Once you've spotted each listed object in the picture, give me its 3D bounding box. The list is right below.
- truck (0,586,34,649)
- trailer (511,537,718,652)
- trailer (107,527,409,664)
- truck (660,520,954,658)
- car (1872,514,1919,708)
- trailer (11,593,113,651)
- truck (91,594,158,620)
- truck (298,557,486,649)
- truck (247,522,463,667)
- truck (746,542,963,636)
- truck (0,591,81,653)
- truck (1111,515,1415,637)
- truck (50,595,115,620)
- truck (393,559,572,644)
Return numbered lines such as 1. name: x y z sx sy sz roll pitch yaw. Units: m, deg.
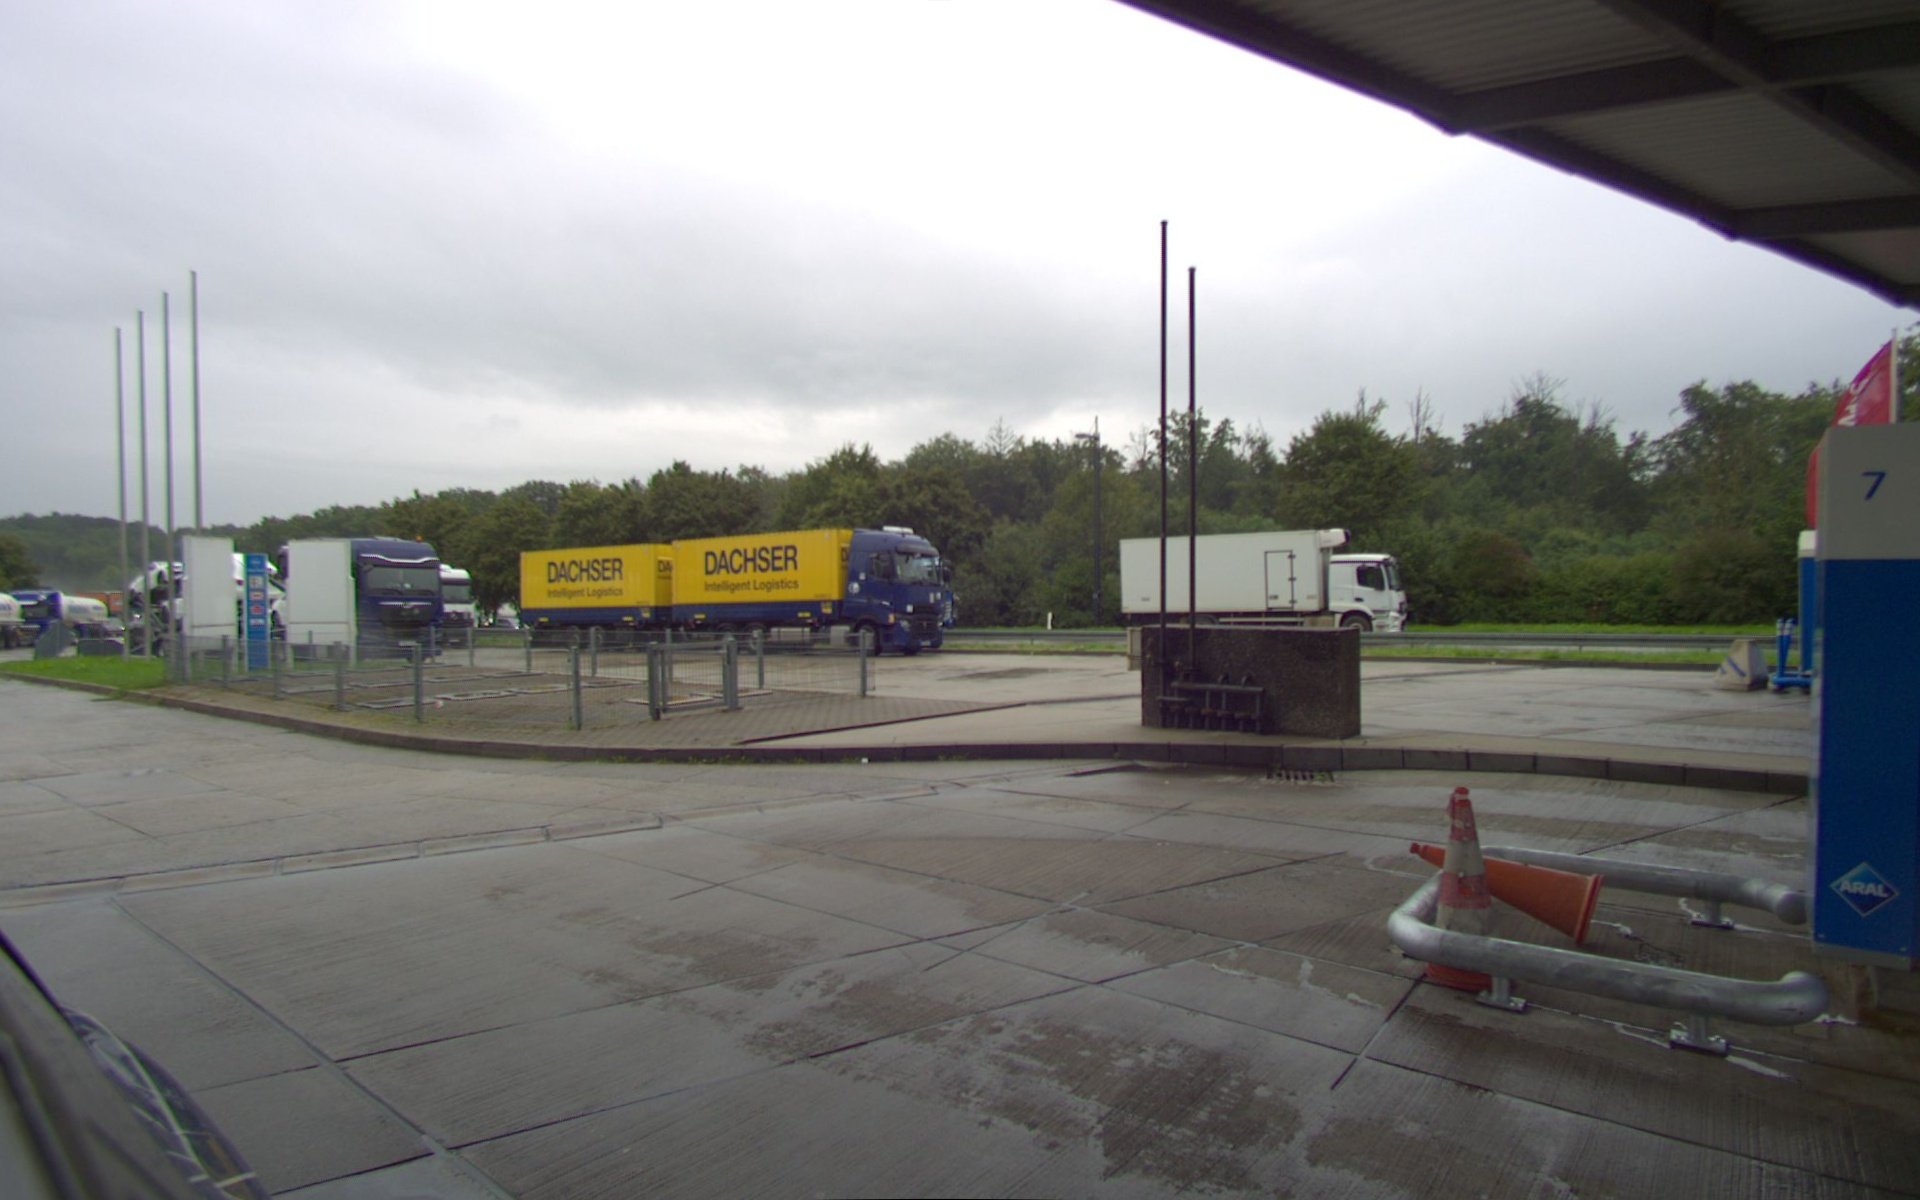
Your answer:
1. truck: -55.551 1.015 55.014 3.196 3.591 12.013 -1 0 -19
2. trailer: -13.540 -0.171 39.284 8.833 4.063 2.743 -1 0 33
3. trailer: -25.411 -0.059 35.920 16.563 4.063 2.957 -1 0 34
4. truck: -5.385 -0.275 33.950 10.608 4.063 2.743 -1 0 33
5. car: 14.902 0.109 12.405 5.272 2.482 2.298 -1 -2 37
6. trailer: -62.262 1.430 70.480 2.854 3.666 10.605 -1 0 -28
7. truck: -119.324 1.008 144.452 14.626 3.591 3.214 0 -1 34
8. truck: -27.295 0.171 48.441 10.433 4.063 2.961 -1 0 30
9. truck: -18.987 -0.117 31.617 7.244 4.063 2.957 -1 0 34
10. truck: -5.134 -0.411 47.684 10.433 4.063 2.961 -1 0 30
11. truck: -59.416 1.367 64.993 3.000 3.795 6.486 -1 0 -27
12. truck: 11.076 -0.743 37.640 10.433 4.063 2.961 -1 0 30
13. truck: -133.653 1.178 154.051 16.515 3.591 3.215 -1 0 34
14. truck: -24.773 0.136 52.270 10.433 4.063 2.961 -1 0 30
